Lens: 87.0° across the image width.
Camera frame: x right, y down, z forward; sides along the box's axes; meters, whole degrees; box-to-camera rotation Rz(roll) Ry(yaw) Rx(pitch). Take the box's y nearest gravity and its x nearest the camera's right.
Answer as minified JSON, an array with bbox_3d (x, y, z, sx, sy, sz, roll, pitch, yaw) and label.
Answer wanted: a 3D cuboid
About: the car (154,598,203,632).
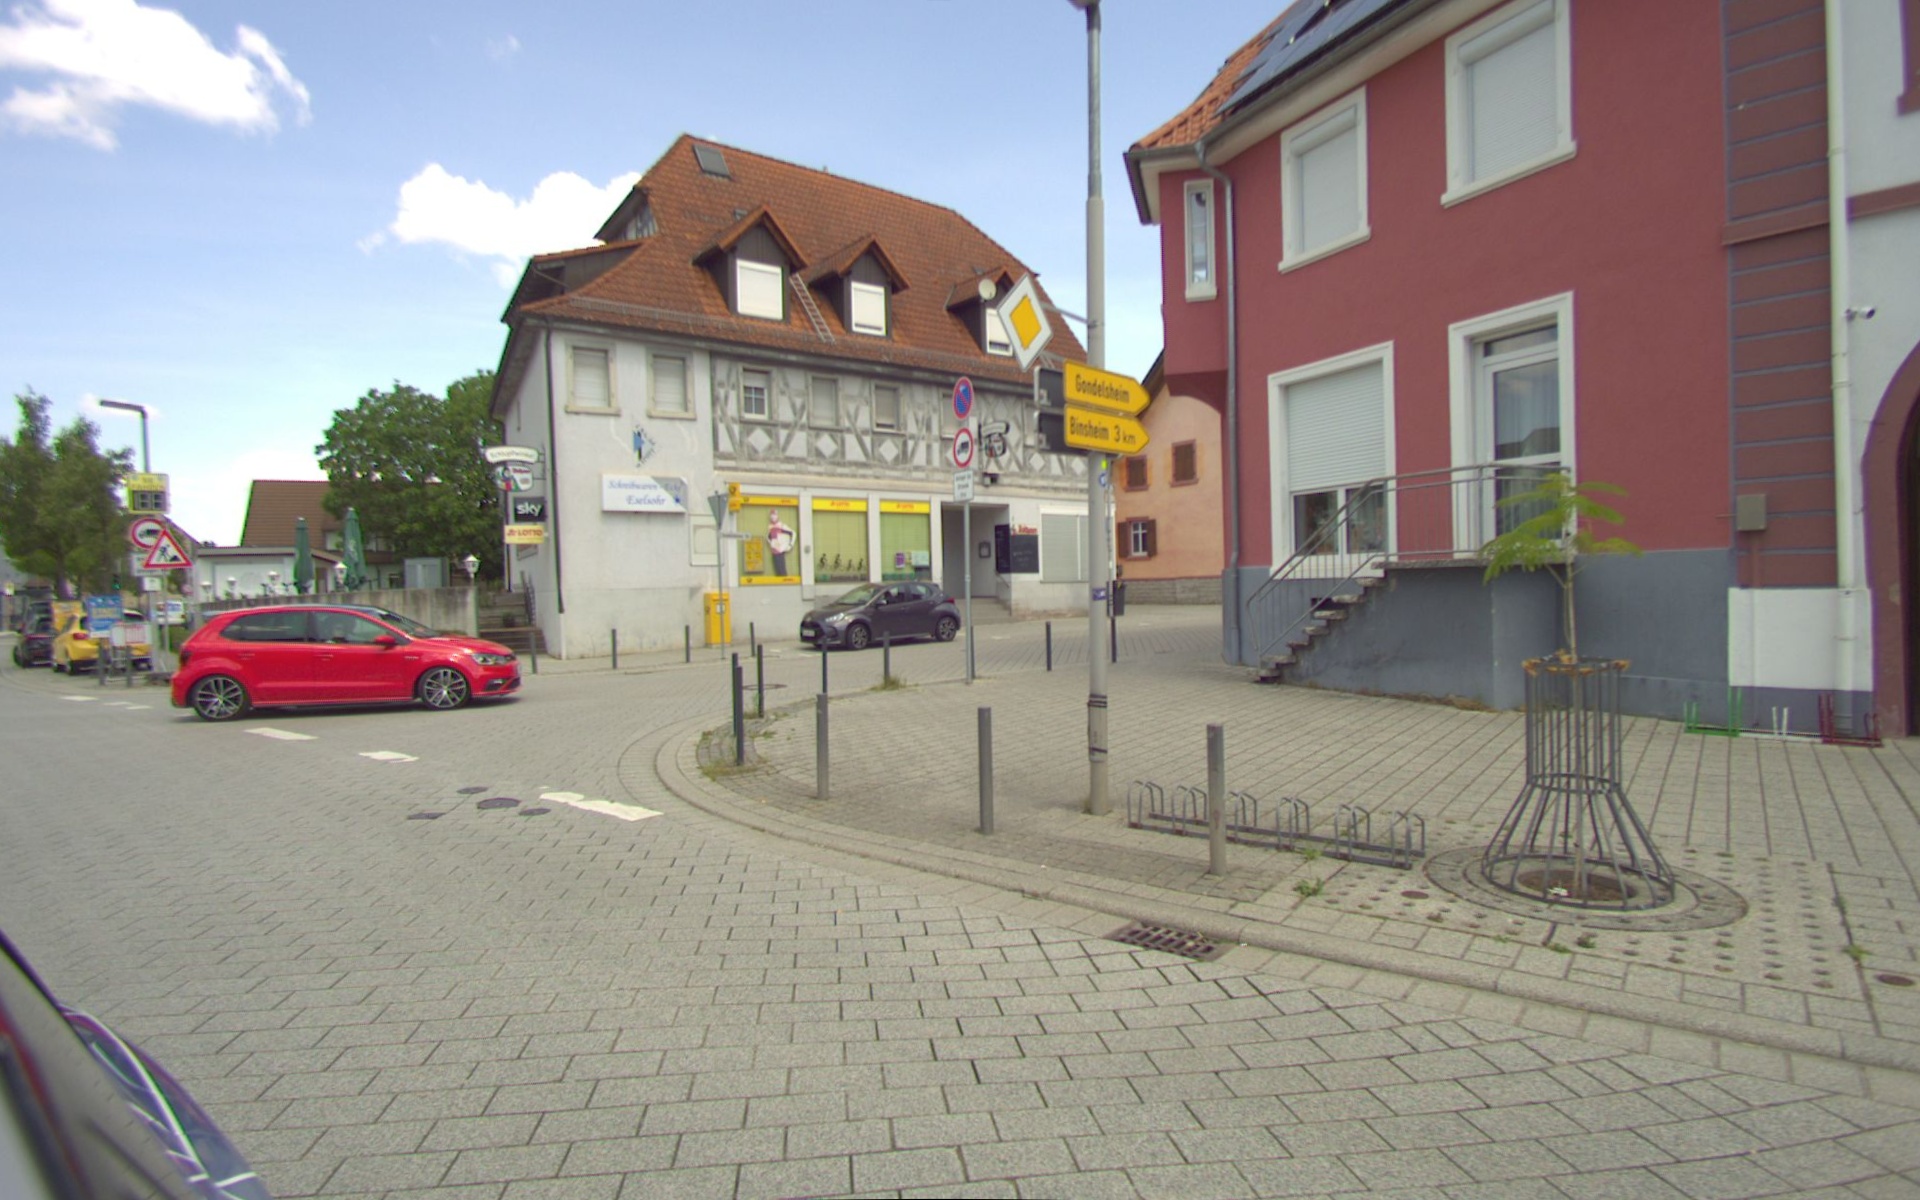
[{"bbox_3d":[-54.066,1.020,70.086,1.861,2.202,5.046,-1,0,-28],"label":"car"}]

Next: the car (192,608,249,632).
[{"bbox_3d":[-49.826,1.318,68.278,1.708,1.501,4.514,-1,0,-18],"label":"car"}]

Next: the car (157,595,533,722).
[{"bbox_3d":[-7.811,0.684,13.244,3.823,1.422,1.788,-1,1,-13],"label":"car"}]

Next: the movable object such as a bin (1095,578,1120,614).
[{"bbox_3d":[4.653,-0.124,31.940,0.486,1.125,0.586,0,0,-39],"label":"movable object such as a bin"}]

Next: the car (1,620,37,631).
[{"bbox_3d":[-103.755,2.805,111.585,3.981,1.068,1.786,-1,0,28],"label":"car"}]

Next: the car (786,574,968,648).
[{"bbox_3d":[-1.896,0.217,23.612,3.891,1.529,1.777,-2,1,-39],"label":"car"}]

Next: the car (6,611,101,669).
[{"bbox_3d":[-25.228,1.071,28.109,1.795,1.434,4.541,-2,0,-44],"label":"car"}]

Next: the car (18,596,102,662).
[{"bbox_3d":[-30.126,0.921,33.959,1.962,2.005,5.051,-2,0,-41],"label":"car"}]

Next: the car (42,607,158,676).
[{"bbox_3d":[-20.460,0.939,24.018,3.963,1.485,1.650,-1,0,43],"label":"car"}]
